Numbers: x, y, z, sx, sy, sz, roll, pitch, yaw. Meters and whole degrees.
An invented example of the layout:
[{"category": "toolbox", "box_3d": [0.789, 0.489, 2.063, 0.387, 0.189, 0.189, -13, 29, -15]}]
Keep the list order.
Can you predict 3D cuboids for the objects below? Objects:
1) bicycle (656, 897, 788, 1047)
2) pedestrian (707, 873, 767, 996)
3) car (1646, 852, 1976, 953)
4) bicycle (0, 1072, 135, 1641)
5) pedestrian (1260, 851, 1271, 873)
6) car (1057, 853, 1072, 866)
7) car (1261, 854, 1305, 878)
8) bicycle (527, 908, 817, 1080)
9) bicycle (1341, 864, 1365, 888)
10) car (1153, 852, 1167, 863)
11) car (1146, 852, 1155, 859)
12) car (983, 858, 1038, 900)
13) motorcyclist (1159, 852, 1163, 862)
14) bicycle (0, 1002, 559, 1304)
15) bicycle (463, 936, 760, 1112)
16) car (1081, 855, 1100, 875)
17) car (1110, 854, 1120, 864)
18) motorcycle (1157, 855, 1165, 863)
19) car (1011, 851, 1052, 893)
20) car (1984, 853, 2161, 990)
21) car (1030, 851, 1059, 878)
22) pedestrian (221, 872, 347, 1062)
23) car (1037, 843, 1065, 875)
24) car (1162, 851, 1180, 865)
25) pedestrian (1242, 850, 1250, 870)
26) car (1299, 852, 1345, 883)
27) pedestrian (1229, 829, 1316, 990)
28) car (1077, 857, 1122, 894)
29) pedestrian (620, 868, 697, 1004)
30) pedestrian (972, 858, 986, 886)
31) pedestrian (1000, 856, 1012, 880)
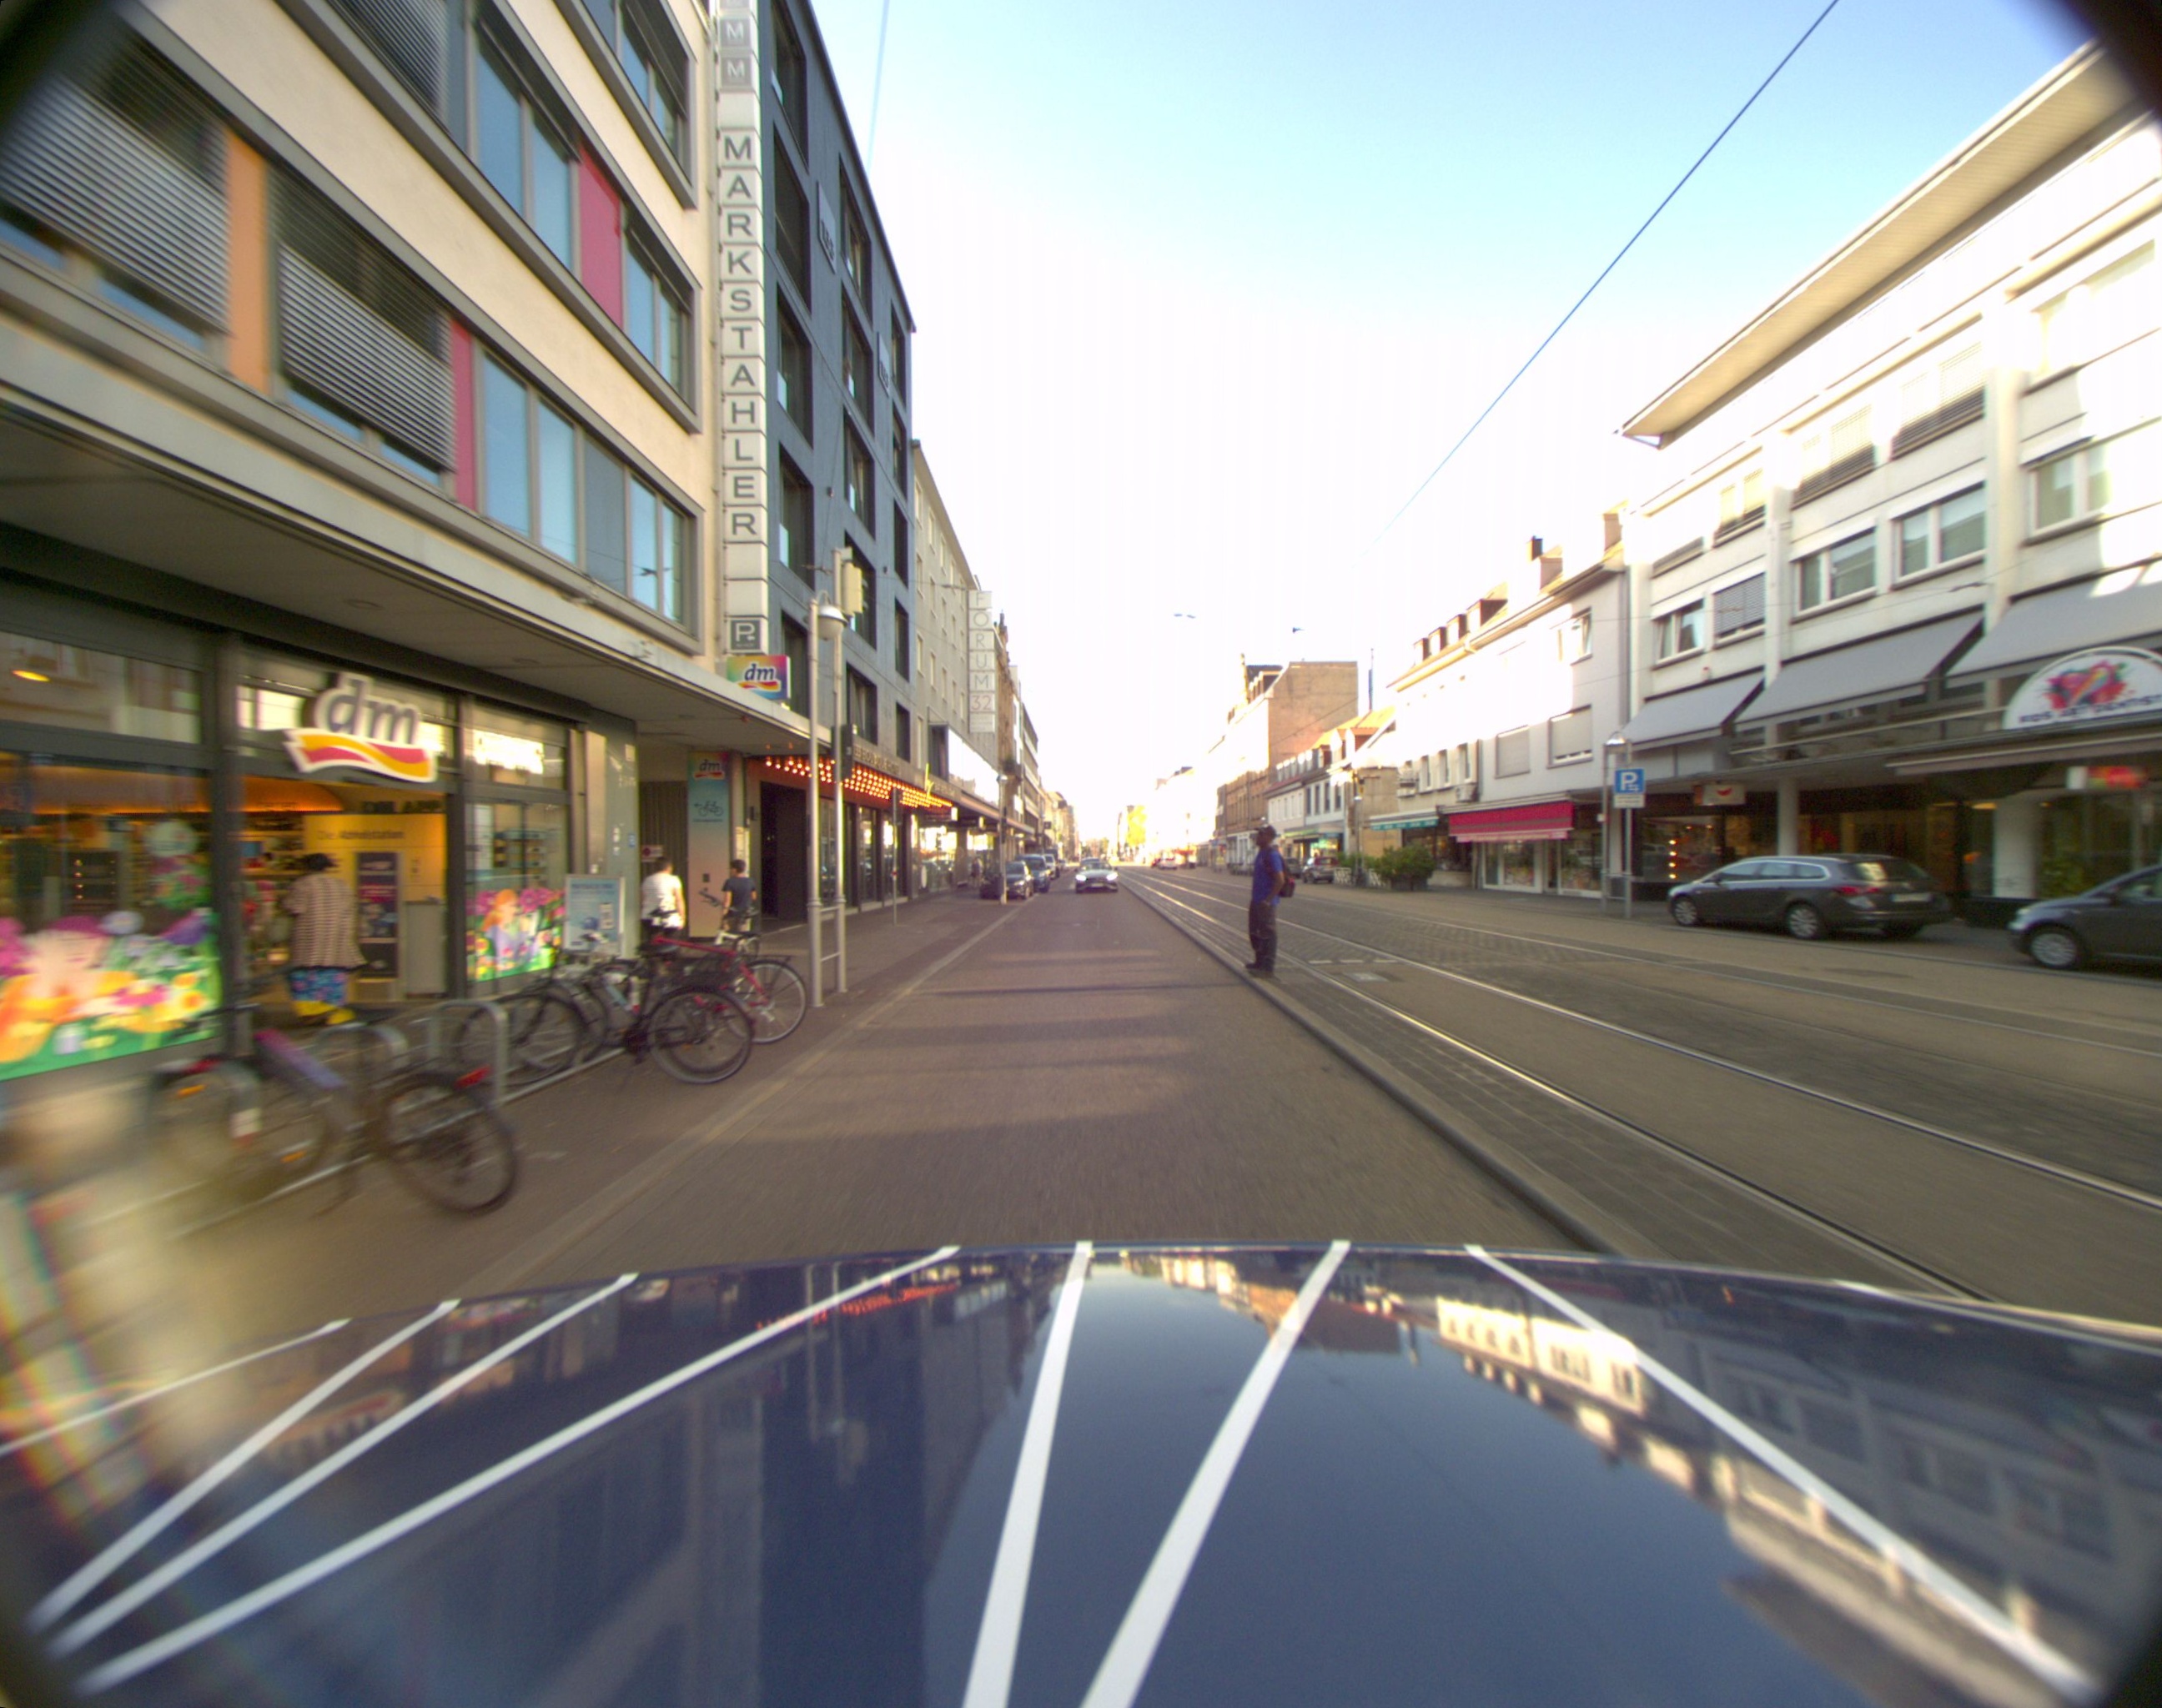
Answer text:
[{"category": "bicycle", "box_3d": [-3.561, 1.114, 7.686, 0.583, 1.250, 1.601, 1, 1, -1]}, {"category": "pedestrian", "box_3d": [-4.385, 0.995, 9.679, 0.584, 1.485, 0.523, 1, 1, -35]}, {"category": "car", "box_3d": [13.585, 0.785, 14.682, 1.741, 1.514, 4.851, -3, 0, 1]}, {"category": "bicycle", "box_3d": [-3.321, 1.160, 1.647, 1.792, 1.210, 0.587, 0, 1, 0]}, {"category": "pedestrian", "box_3d": [15.073, 0.629, 62.087, 0.658, 1.752, 0.581, -3, 1, -7]}, {"category": "car", "box_3d": [-1.956, 0.652, 92.413, 1.630, 1.543, 3.508, 1, 1, 1]}, {"category": "car", "box_3d": [14.002, 0.773, 52.931, 1.822, 1.505, 4.762, -1, 1, 1]}, {"category": "bicycle", "box_3d": [-3.295, 1.111, 6.273, 2.043, 1.267, 0.524, 0, 1, -9]}, {"category": "bicycle", "box_3d": [13.071, 1.030, 36.529, 0.519, 1.084, 1.716, -3, 1, 1]}, {"category": "car", "box_3d": [11.501, 0.448, 110.224, 1.667, 1.521, 4.000, 0, 1, 1]}, {"category": "car", "box_3d": [15.847, 0.251, 173.542, 1.630, 1.524, 3.464, 1, 1, 1]}, {"category": "car", "box_3d": [-2.773, 0.958, 30.560, 1.726, 1.476, 4.416, 1, 1, 1]}, {"category": "motorcyclist", "box_3d": [11.076, 0.402, 104.997, 0.540, 1.295, 0.655, 1, 1, 1]}, {"category": "bicycle", "box_3d": [-3.275, 1.187, 3.165, 1.778, 1.026, 0.597, 0, 0, 0]}, {"category": "bicycle", "box_3d": [-3.302, 1.181, 5.444, 1.778, 1.124, 0.478, 0, 1, -5]}, {"category": "car", "box_3d": [0.842, 0.960, 67.365, 1.630, 1.593, 3.330, 1, 1, 1]}, {"category": "car", "box_3d": [7.200, 0.964, 159.597, 1.998, 2.002, 4.000, -3, 1, 2]}, {"category": "motorcycle", "box_3d": [11.094, 0.666, 105.021, 0.907, 0.987, 1.935, 0, 1, 1]}, {"category": "car", "box_3d": [-2.352, 0.815, 36.705, 1.821, 1.849, 4.548, 0, 1, -3]}, {"category": "car", "box_3d": [13.348, 0.788, 8.726, 1.605, 1.514, 3.588, -3, 1, -2]}, {"category": "car", "box_3d": [-2.707, 0.747, 57.136, 2.051, 1.899, 4.877, 0, 1, -2]}, {"category": "pedestrian", "box_3d": [-6.668, 0.901, 6.388, 0.584, 1.477, 0.596, 1, 1, -30]}, {"category": "car", "box_3d": [-2.503, 0.451, 64.011, 2.051, 2.486, 5.687, -3, -1, 0]}, {"category": "car", "box_3d": [11.116, 0.513, 93.773, 1.802, 1.625, 3.676, 0, 1, 1]}, {"category": "pedestrian", "box_3d": [14.621, 0.533, 67.399, 0.581, 1.795, 0.659, -3, 1, 12]}, {"category": "car", "box_3d": [13.706, 0.733, 43.414, 1.701, 1.594, 2.891, -2, 1, 1]}, {"category": "pedestrian", "box_3d": [2.237, 0.630, 8.984, 0.806, 1.827, 0.746, 1, 1, -1]}, {"category": "car", "box_3d": [0.784, 0.921, 34.164, 1.858, 1.463, 4.786, 0, 1, 0]}, {"category": "pedestrian", "box_3d": [-5.092, 0.967, 9.188, 0.583, 1.576, 0.598, 1, 1, -1]}, {"category": "pedestrian", "box_3d": [-5.332, 0.932, 39.817, 0.577, 1.431, 0.731, 1, 1, 1]}, {"category": "pedestrian", "box_3d": [-4.787, 0.888, 48.409, 0.697, 1.499, 0.814, -1, 1, 0]}]
